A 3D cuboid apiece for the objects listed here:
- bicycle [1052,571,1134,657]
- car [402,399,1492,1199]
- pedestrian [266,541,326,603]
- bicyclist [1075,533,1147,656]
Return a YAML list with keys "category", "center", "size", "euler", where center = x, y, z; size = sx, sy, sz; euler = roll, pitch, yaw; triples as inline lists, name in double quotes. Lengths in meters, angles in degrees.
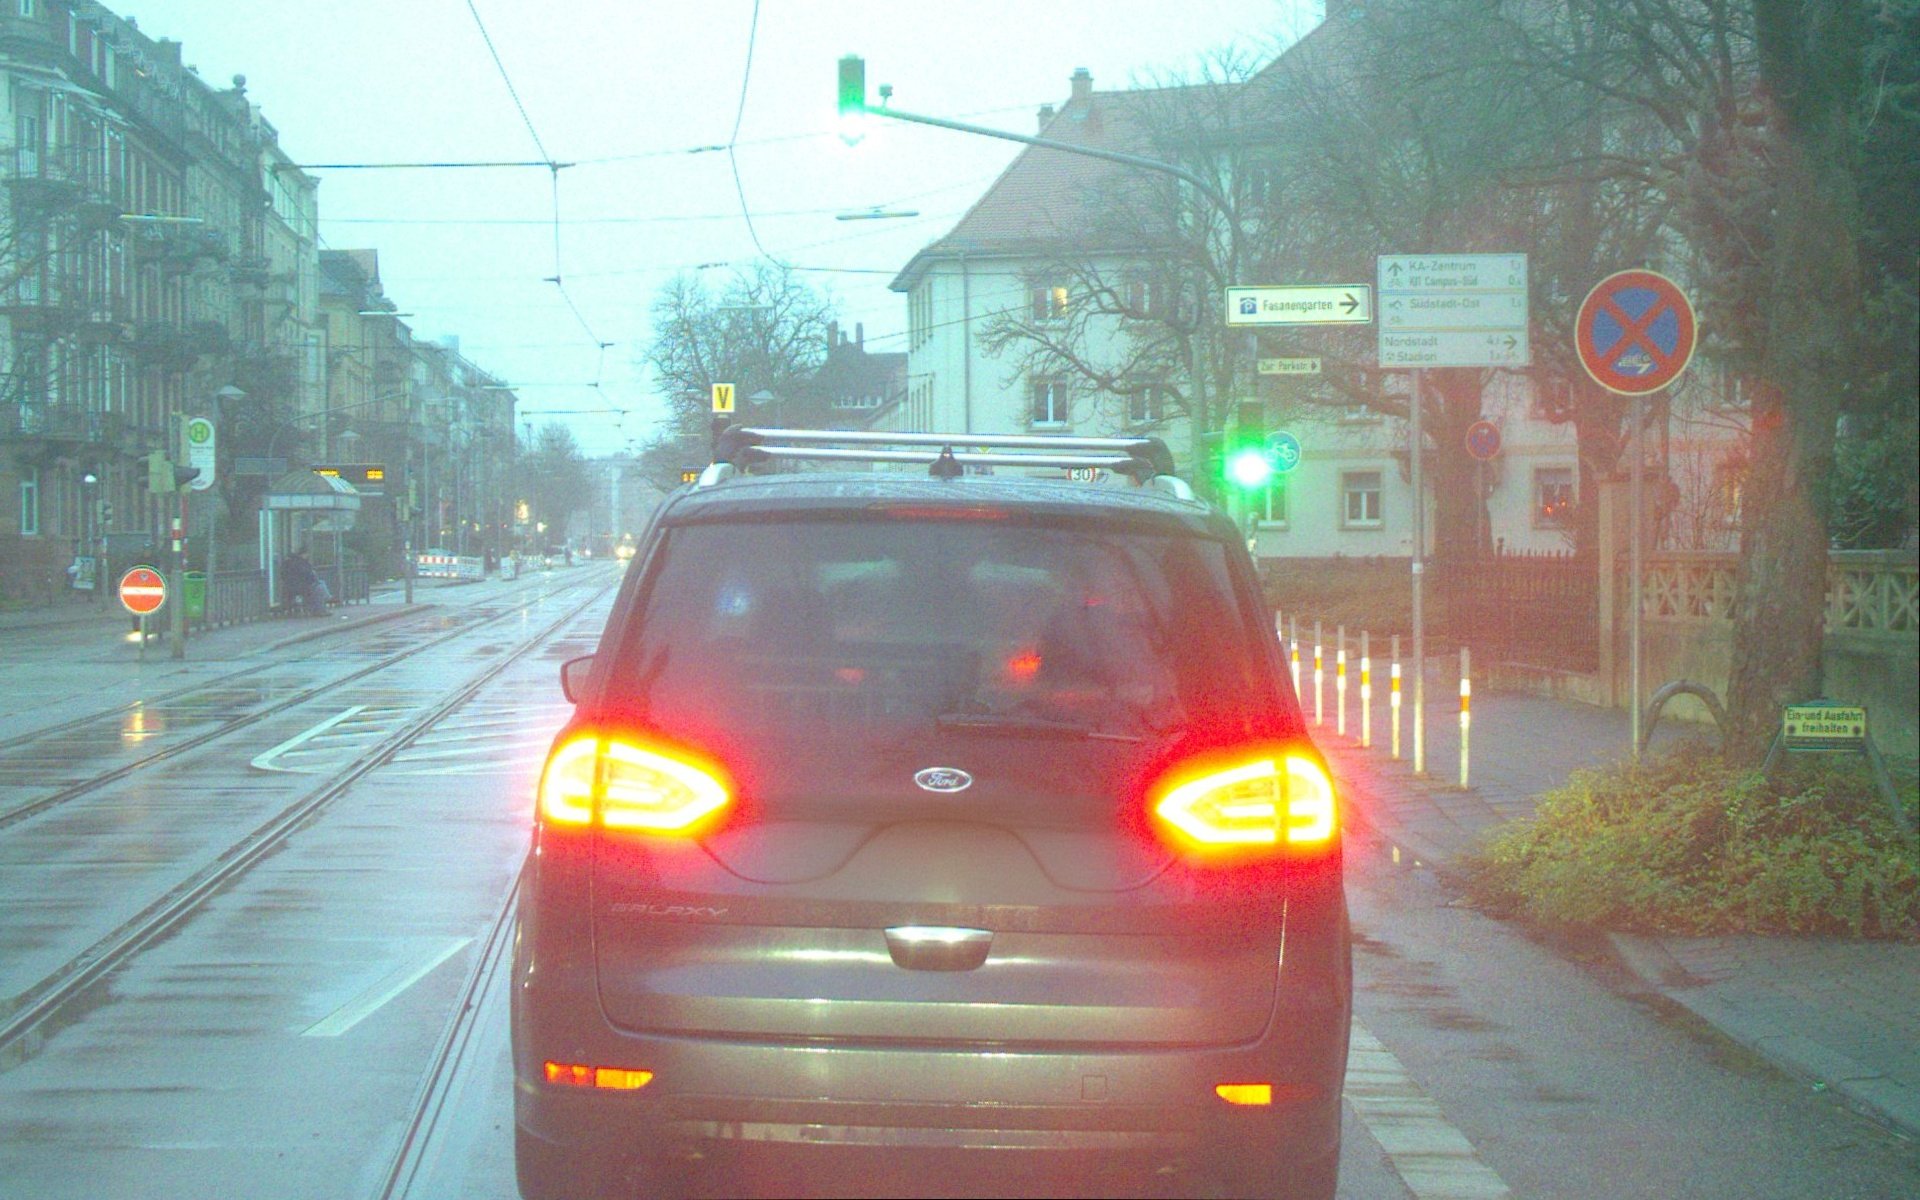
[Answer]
- category: "bicycle"
  center: [1.837, 0.186, 47.919]
  size: [0.716, 1.108, 1.942]
  euler: [4, 1, -9]
- category: "car"
  center: [-0.121, 0.499, 9.095]
  size: [2.103, 1.810, 4.661]
  euler: [2, 1, -2]
- category: "pedestrian"
  center: [-13.025, -0.553, 67.464]
  size: [1.047, 1.196, 0.885]
  euler: [0, 0, -3]
- category: "bicyclist"
  center: [2.109, -0.079, 48.010]
  size: [0.716, 1.657, 1.057]
  euler: [3, 1, -9]
